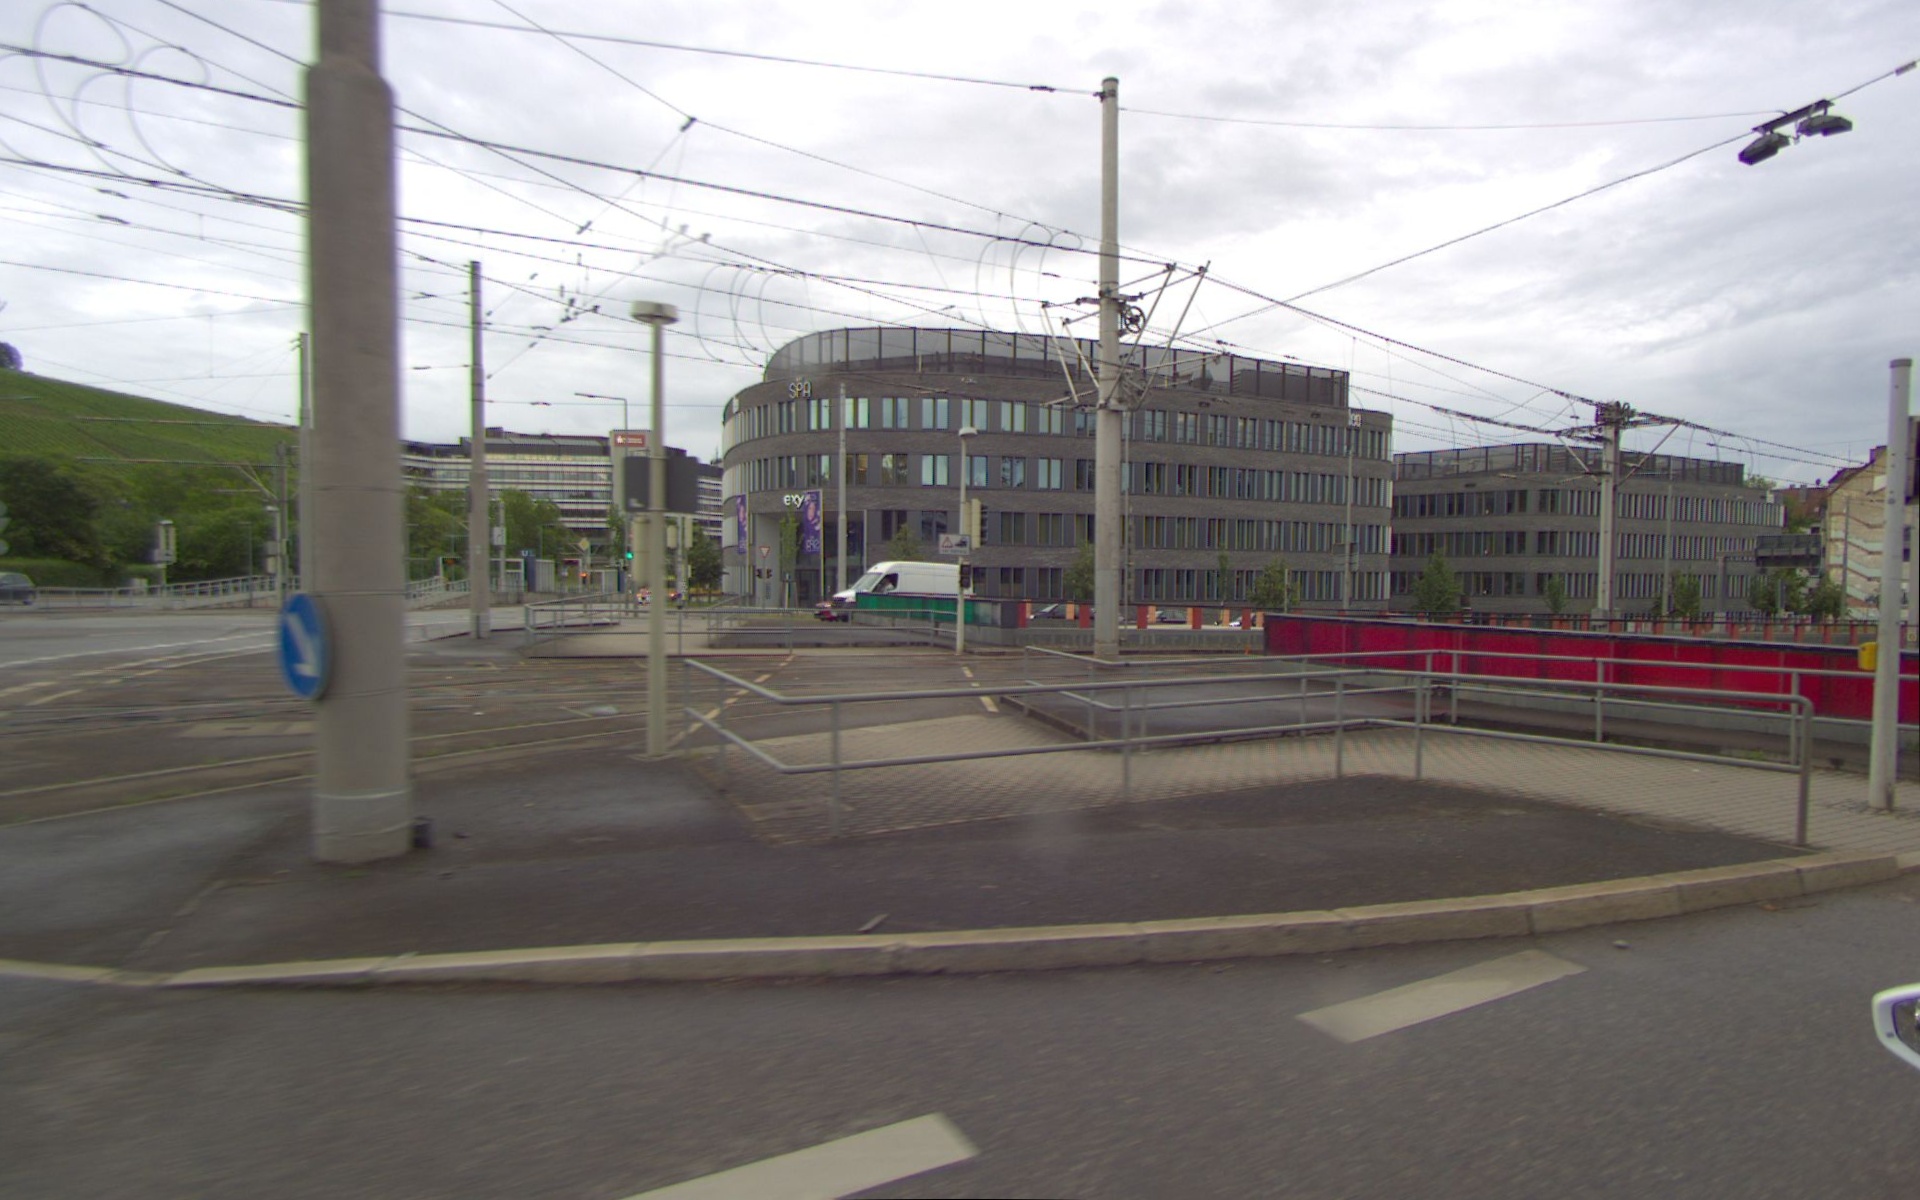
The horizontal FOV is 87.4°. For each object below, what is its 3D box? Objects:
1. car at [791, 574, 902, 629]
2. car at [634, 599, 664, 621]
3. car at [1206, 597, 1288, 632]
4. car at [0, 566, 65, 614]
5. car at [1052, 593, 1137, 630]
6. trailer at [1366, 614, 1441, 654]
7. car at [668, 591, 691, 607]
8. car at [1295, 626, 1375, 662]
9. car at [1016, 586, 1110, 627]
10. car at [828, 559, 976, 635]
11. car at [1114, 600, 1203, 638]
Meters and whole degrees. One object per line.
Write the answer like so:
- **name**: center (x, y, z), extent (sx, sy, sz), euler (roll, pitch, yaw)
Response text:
- **car**: center (-4.838, 0.084, 42.944), extent (4.199, 2.181, 1.983), euler (2, 0, -31)
- **car**: center (-30.909, 0.980, 99.934), extent (1.963, 2.040, 3.995), euler (3, 0, -7)
- **car**: center (14.518, 0.734, 50.842), extent (3.785, 1.606, 1.817), euler (3, 0, -30)
- **car**: center (-43.369, -0.490, 45.993), extent (1.968, 2.040, 3.985), euler (3, 0, -17)
- **car**: center (6.626, 0.567, 49.370), extent (3.785, 1.606, 1.816), euler (1, 3, -30)
- **trailer**: center (25.321, 1.930, 57.276), extent (4.228, 2.101, 1.815), euler (3, 0, -32)
- **car**: center (-33.943, -0.141, 121.772), extent (1.963, 1.840, 3.995), euler (3, 0, -7)
- **car**: center (20.157, 2.381, 53.976), extent (4.228, 1.772, 1.815), euler (3, 0, -32)
- **car**: center (4.606, 0.293, 44.941), extent (3.785, 1.606, 1.817), euler (3, 0, -30)
- **car**: center (-2.276, -0.101, 40.238), extent (5.652, 2.869, 1.983), euler (0, -1, -31)
- **car**: center (9.344, 0.901, 47.173), extent (3.785, 1.606, 1.817), euler (3, 0, -30)
